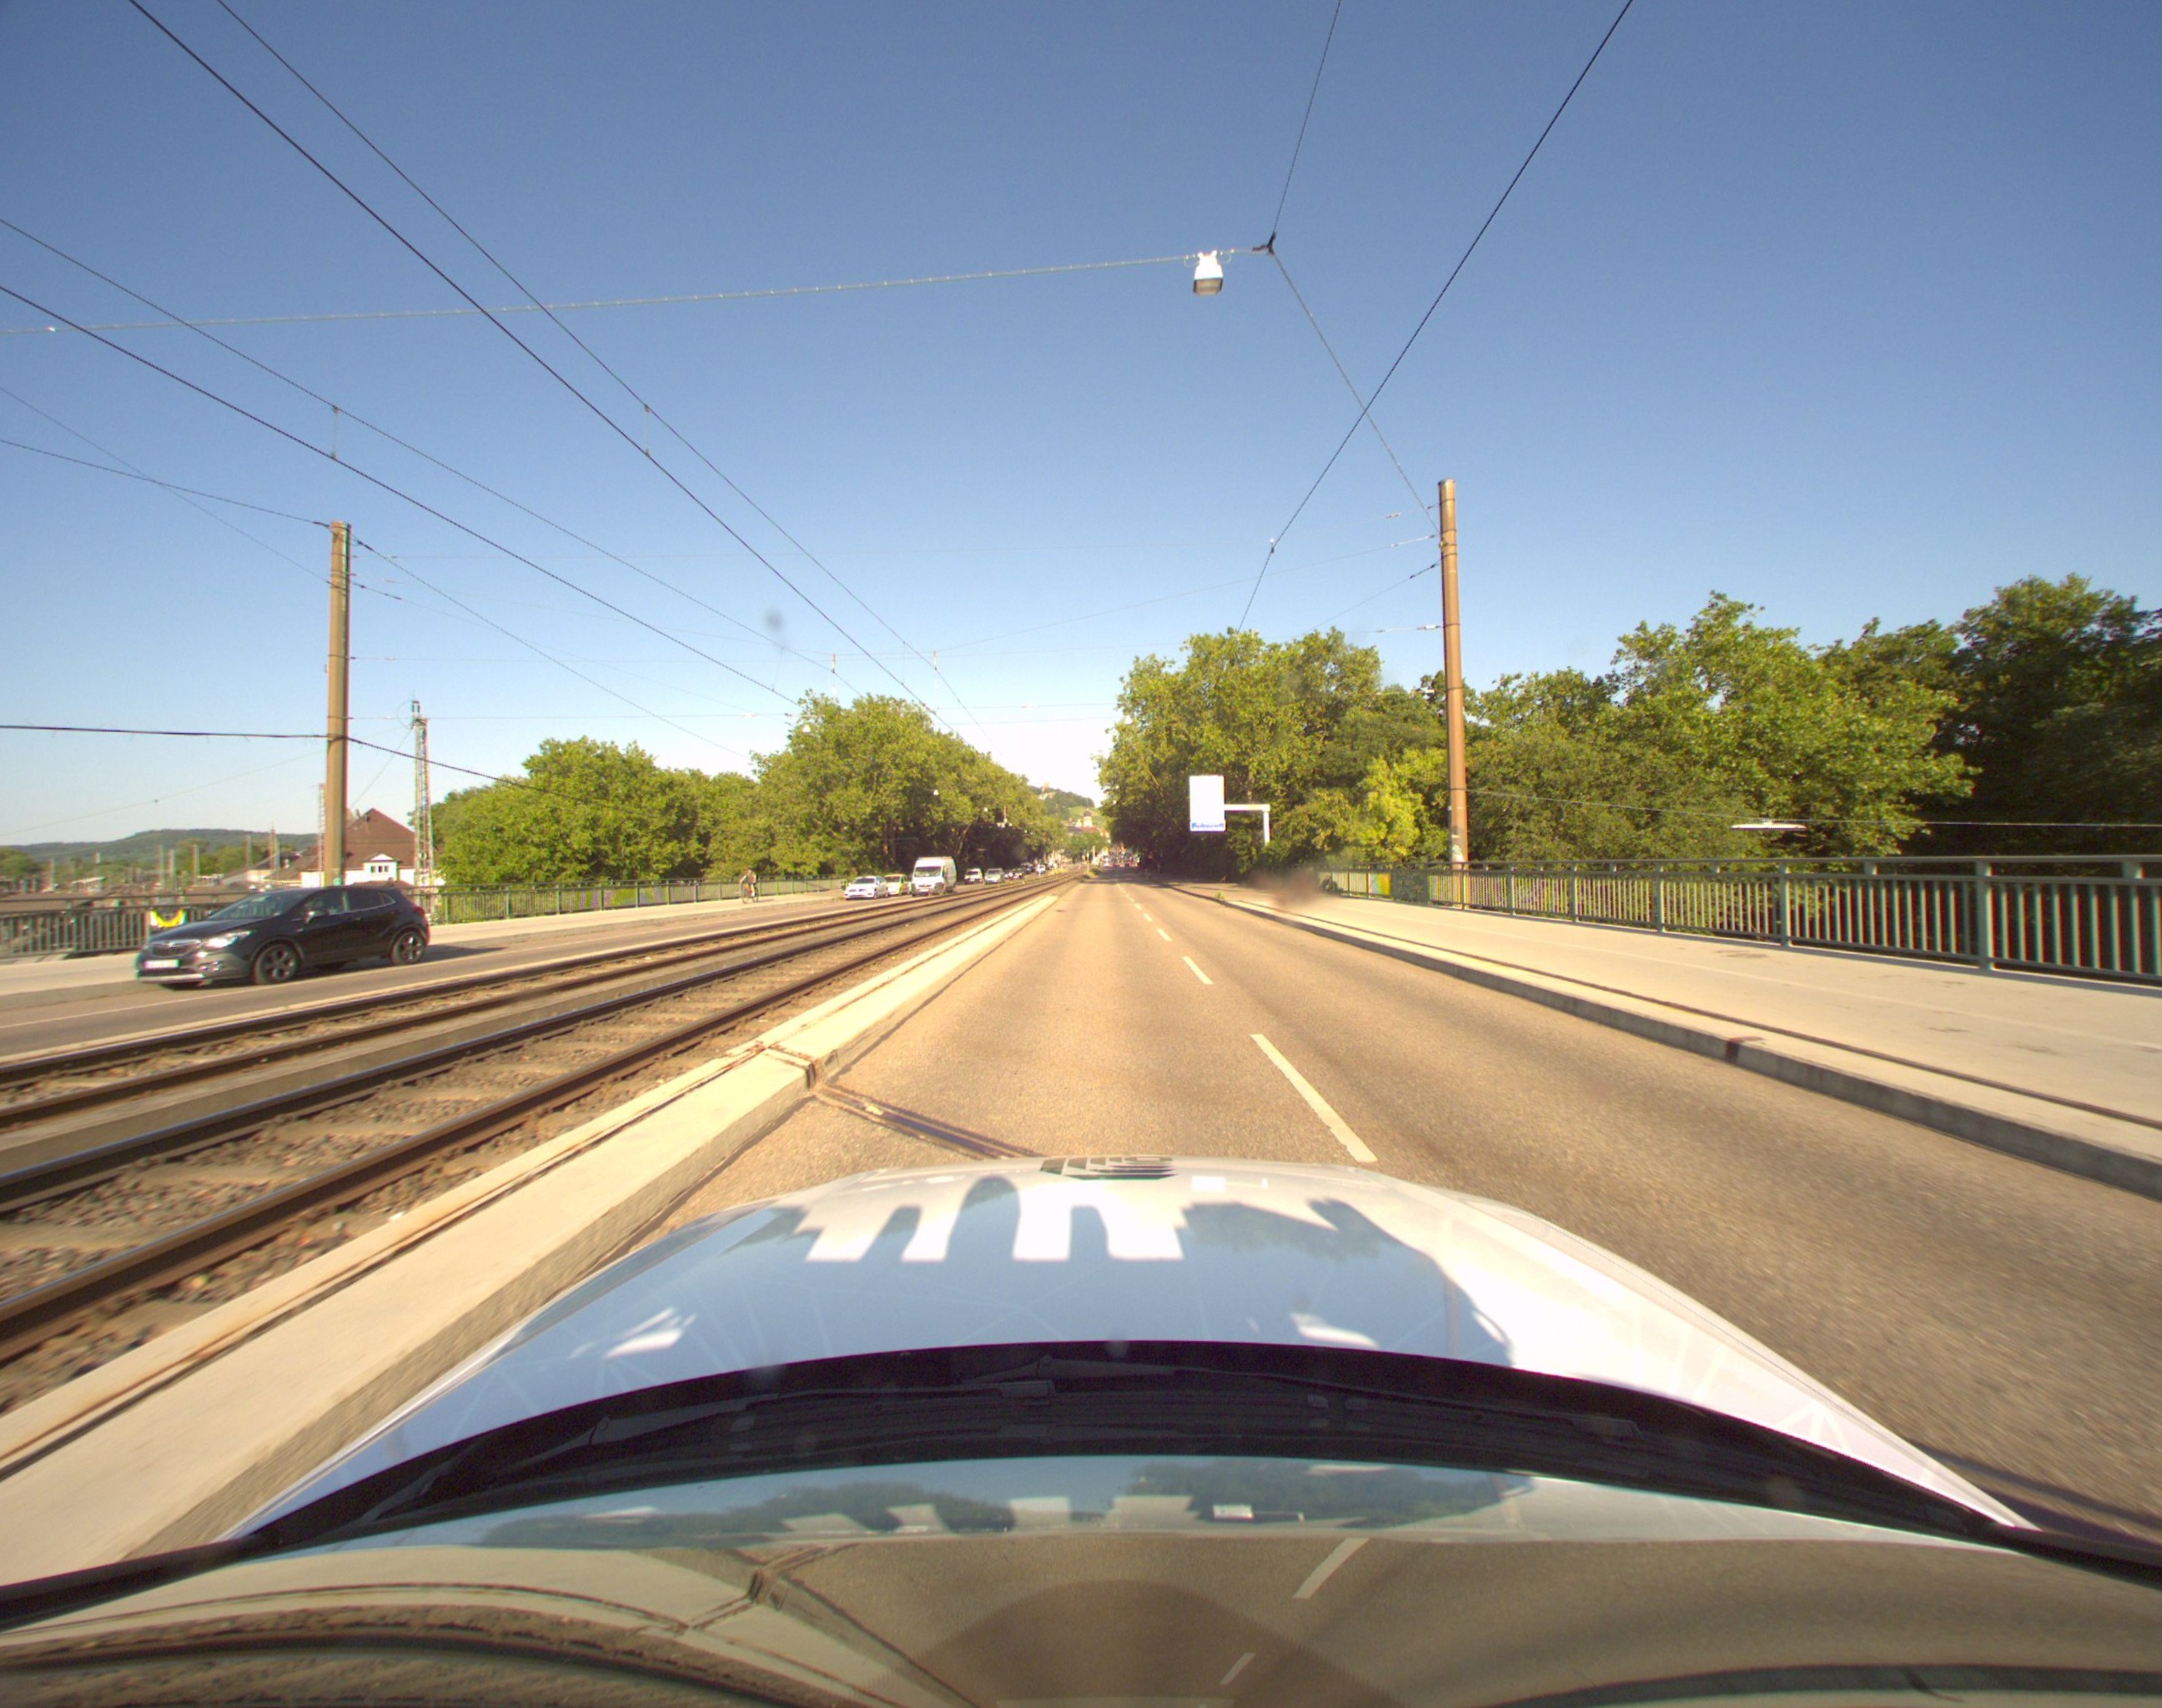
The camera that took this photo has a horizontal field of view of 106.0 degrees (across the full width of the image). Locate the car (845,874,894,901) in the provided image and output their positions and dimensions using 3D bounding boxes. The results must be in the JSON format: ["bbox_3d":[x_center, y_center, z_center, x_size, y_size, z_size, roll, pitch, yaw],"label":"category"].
[{"bbox_3d":[-13.270,2.085,51.330,1.736,1.464,4.956,-1,0,0],"label":"car"}]

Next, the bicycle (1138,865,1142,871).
[{"bbox_3d":[13.240,3.187,182.511,0.883,1.321,2.641,-2,-1,3],"label":"bicycle"}]

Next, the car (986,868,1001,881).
[{"bbox_3d":[-11.991,2.820,111.265,1.738,1.636,3.995,-2,0,-3],"label":"car"}]

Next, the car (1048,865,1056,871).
[{"bbox_3d":[-8.671,4.310,243.480,1.987,1.697,4.744,-2,-1,0],"label":"car"}]

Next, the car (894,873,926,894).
[{"bbox_3d":[-13.121,2.255,62.576,1.628,1.450,4.000,-2,0,-1],"label":"car"}]

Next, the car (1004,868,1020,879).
[{"bbox_3d":[-11.081,3.066,130.938,1.987,1.697,4.744,-2,-1,0],"label":"car"}]

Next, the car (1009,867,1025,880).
[{"bbox_3d":[-8.955,2.664,114.180,1.736,1.623,4.393,-4,0,0],"label":"car"}]

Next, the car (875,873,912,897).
[{"bbox_3d":[-13.138,2.148,57.196,1.627,1.531,3.791,-2,0,1],"label":"car"}]

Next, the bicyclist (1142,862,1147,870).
[{"bbox_3d":[13.243,2.558,169.888,0.883,1.638,1.165,-2,-1,2],"label":"bicyclist"}]

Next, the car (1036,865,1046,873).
[{"bbox_3d":[-8.662,3.242,176.530,1.987,1.844,5.300,0,0,0],"label":"car"}]

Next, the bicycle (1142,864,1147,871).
[{"bbox_3d":[13.240,2.842,169.636,0.883,1.321,2.641,-2,-1,2],"label":"bicycle"}]

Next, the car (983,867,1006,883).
[{"bbox_3d":[-9.494,2.298,89.740,1.866,1.665,4.599,1,0,2],"label":"car"}]

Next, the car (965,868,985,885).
[{"bbox_3d":[-12.490,2.585,96.074,1.737,1.743,4.512,-5,0,-1],"label":"car"}]

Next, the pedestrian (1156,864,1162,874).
[{"bbox_3d":[12.236,2.316,127.753,0.800,1.546,0.815,-2,-1,5],"label":"pedestrian"}]

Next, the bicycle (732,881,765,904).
[{"bbox_3d":[-16.660,1.916,40.862,0.677,1.097,2.101,0,0,2],"label":"bicycle"}]

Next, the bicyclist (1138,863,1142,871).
[{"bbox_3d":[13.222,2.826,182.312,0.883,1.775,1.223,-2,-1,2],"label":"bicyclist"}]

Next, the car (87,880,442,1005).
[{"bbox_3d":[-14.329,1.435,14.769,1.773,1.650,4.448,-4,0,1],"label":"car"}]

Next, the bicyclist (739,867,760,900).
[{"bbox_3d":[-16.657,1.475,40.946,0.677,1.627,0.890,0,-1,2],"label":"bicyclist"}]

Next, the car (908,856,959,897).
[{"bbox_3d":[-9.788,1.435,54.453,2.078,2.593,6.043,0,0,2],"label":"car"}]
